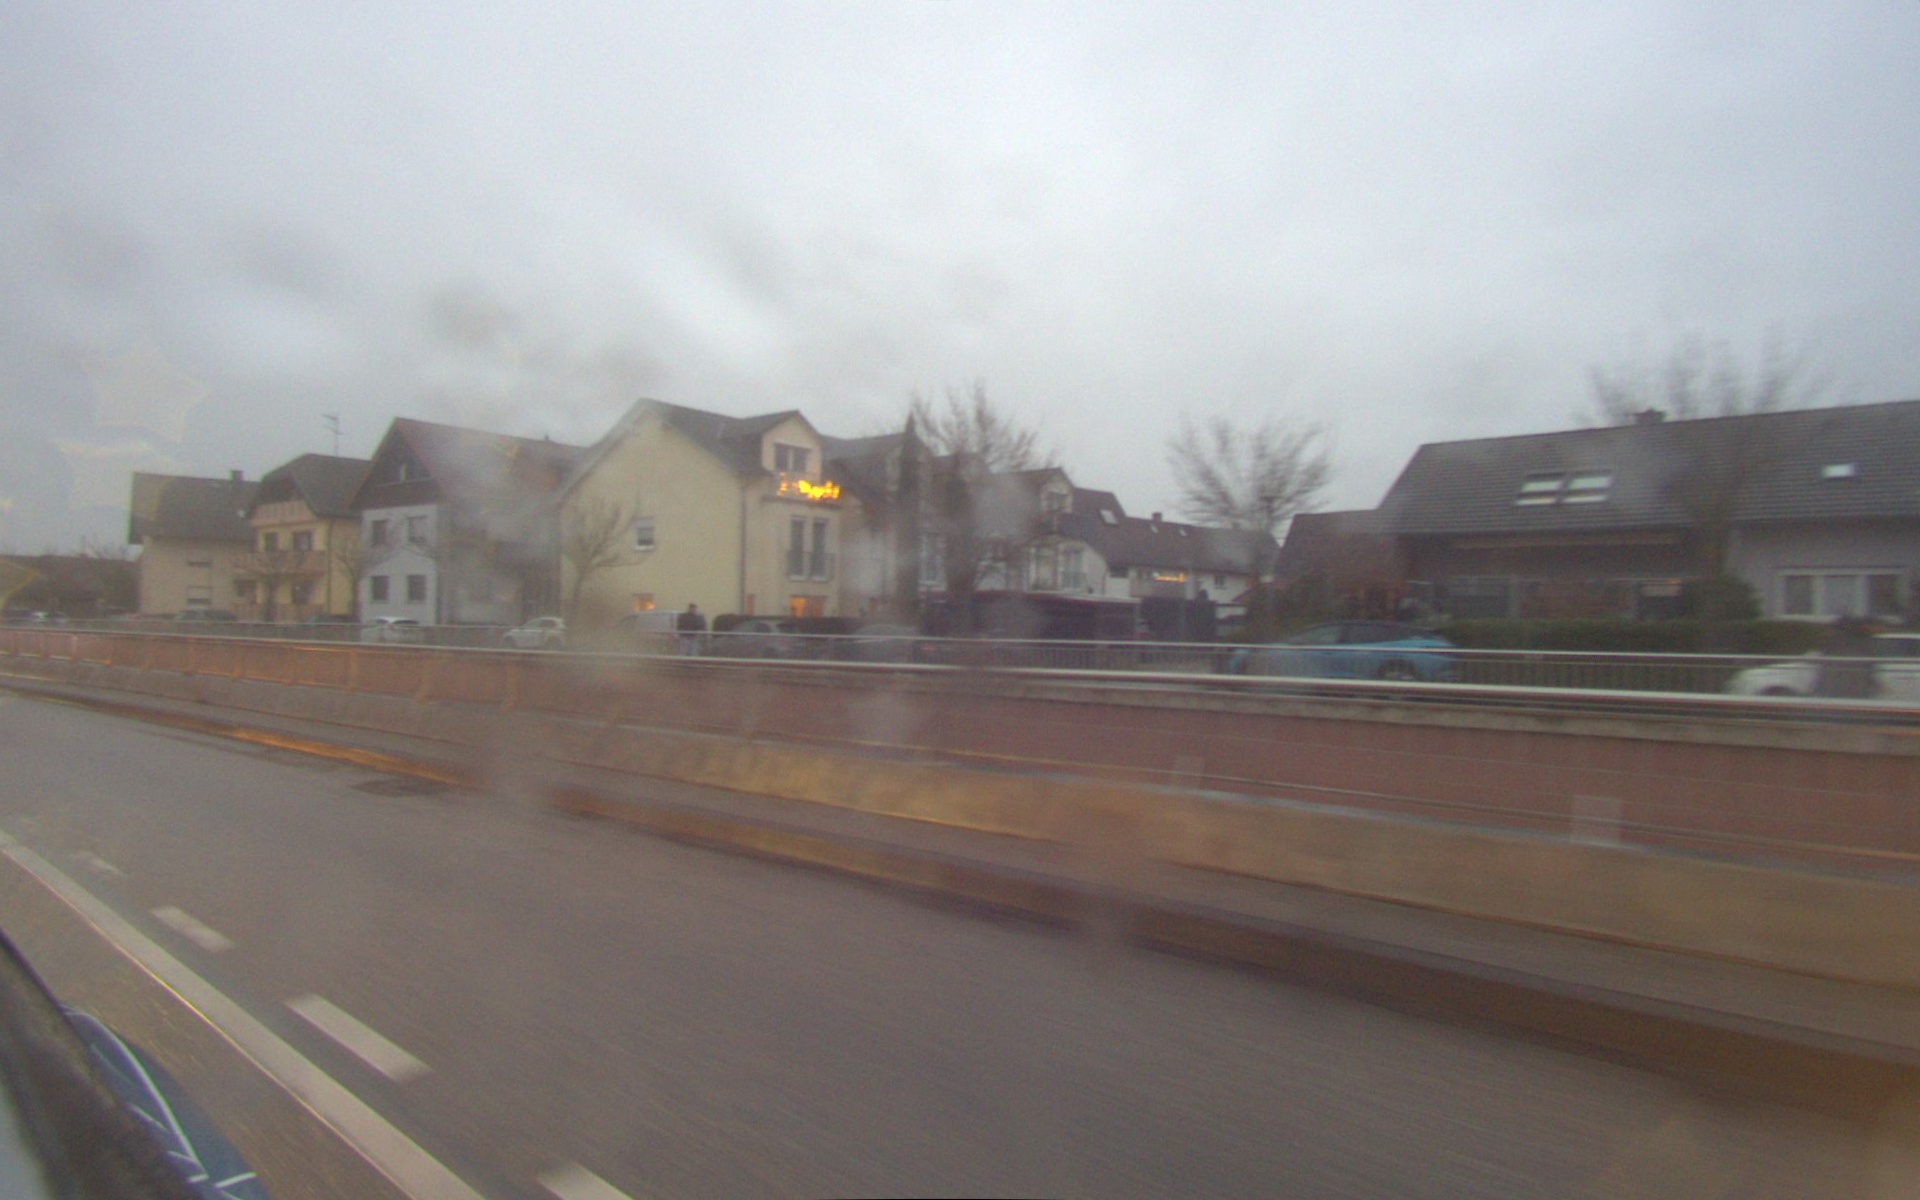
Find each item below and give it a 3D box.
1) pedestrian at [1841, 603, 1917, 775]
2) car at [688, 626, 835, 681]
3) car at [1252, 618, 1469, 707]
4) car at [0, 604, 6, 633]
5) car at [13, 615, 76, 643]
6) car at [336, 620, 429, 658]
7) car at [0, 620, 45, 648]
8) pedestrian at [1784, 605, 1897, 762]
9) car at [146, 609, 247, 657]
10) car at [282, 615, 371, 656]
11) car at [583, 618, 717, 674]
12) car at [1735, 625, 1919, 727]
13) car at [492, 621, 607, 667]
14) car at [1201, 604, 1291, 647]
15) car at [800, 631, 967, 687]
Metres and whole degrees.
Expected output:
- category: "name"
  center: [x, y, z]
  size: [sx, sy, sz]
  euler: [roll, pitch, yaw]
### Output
- category: "pedestrian"
  center: [9.521, 0.891, 10.502]
  size: [0.541, 1.710, 0.656]
  euler: [-1, -1, 41]
- category: "car"
  center: [-6.163, 1.628, 31.222]
  size: [4.491, 1.585, 1.857]
  euler: [-1, -4, 35]
- category: "car"
  center: [8.012, 1.203, 20.365]
  size: [3.812, 1.592, 1.551]
  euler: [0, -3, 35]
- category: "car"
  center: [-67.067, 1.302, 68.605]
  size: [4.332, 1.919, 1.983]
  euler: [0, 1, 25]
- category: "car"
  center: [-56.417, 1.774, 62.334]
  size: [3.971, 1.636, 1.803]
  euler: [-1, 1, 31]
- category: "car"
  center: [-24.912, 1.646, 43.624]
  size: [4.018, 1.535, 1.755]
  euler: [0, -1, 32]
- category: "car"
  center: [-60.540, 2.165, 64.790]
  size: [3.986, 1.529, 1.883]
  euler: [1, 2, 32]
- category: "pedestrian"
  center: [10.700, 0.970, 12.319]
  size: [0.973, 1.798, 0.918]
  euler: [-1, -1, 41]
- category: "car"
  center: [-30.671, 1.301, 40.653]
  size: [3.843, 1.817, 1.788]
  euler: [0, -1, 28]
- category: "car"
  center: [-28.547, 1.547, 45.582]
  size: [3.986, 1.694, 1.844]
  euler: [0, 1, 32]
- category: "car"
  center: [-10.464, 1.550, 34.096]
  size: [4.488, 1.792, 1.859]
  euler: [-1, -4, 33]
- category: "car"
  center: [13.997, 1.125, 15.408]
  size: [3.456, 1.438, 1.467]
  euler: [0, -1, 40]
- category: "car"
  center: [-15.180, 1.618, 37.363]
  size: [4.212, 1.611, 1.859]
  euler: [-1, -4, 33]
- category: "car"
  center: [14.447, 1.258, 51.191]
  size: [3.989, 2.029, 1.977]
  euler: [0, 0, 34]
- category: "car"
  center: [-2.182, 1.620, 28.228]
  size: [4.491, 1.444, 1.857]
  euler: [-1, -4, 35]
